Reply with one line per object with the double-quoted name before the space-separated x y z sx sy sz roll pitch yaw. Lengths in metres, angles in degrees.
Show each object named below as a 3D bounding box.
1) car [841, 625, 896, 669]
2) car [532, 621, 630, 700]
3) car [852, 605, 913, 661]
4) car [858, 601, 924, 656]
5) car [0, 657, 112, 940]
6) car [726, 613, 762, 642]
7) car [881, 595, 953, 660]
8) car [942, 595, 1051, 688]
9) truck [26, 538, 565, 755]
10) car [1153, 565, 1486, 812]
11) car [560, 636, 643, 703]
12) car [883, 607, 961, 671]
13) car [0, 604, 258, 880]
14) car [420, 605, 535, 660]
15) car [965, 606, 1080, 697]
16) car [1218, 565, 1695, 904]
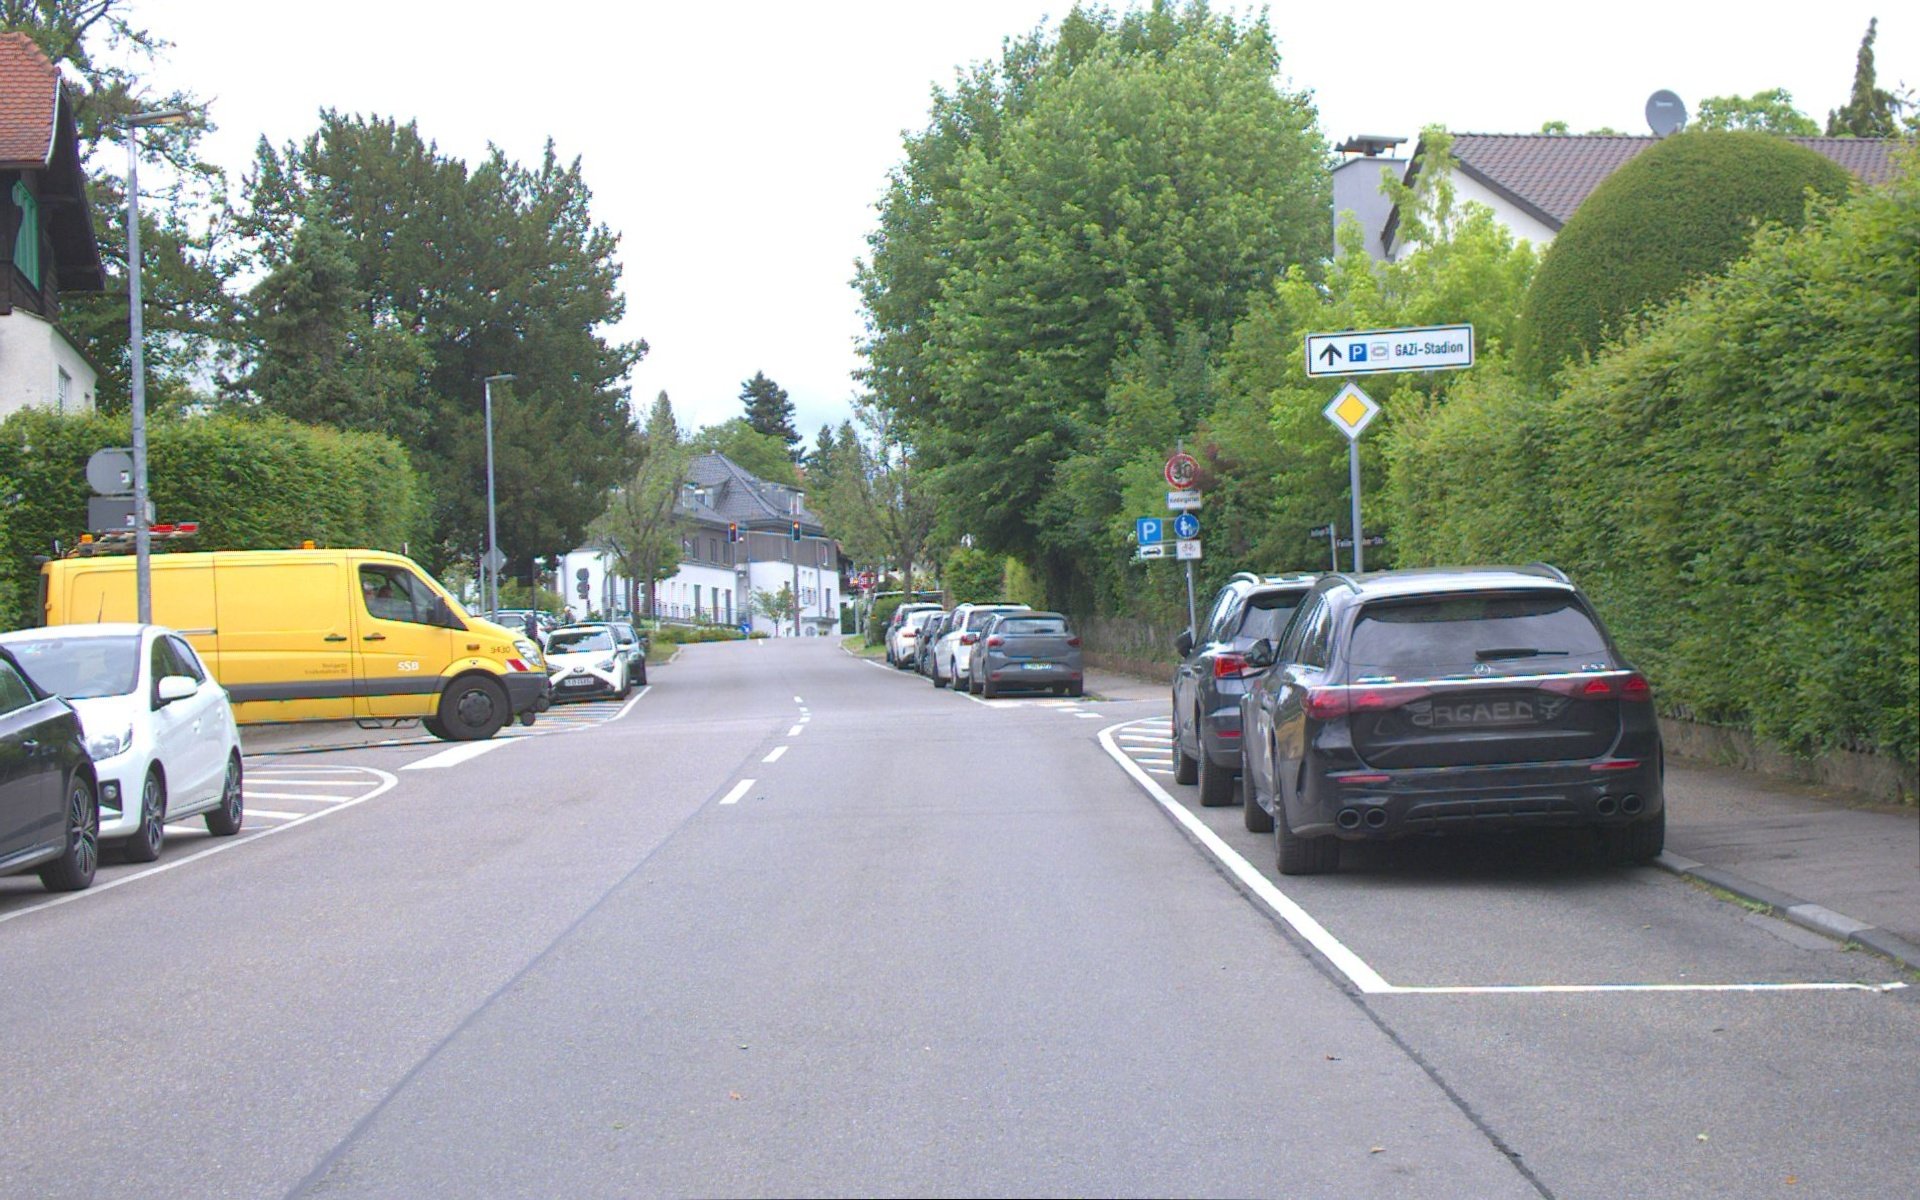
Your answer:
"car" -3.116 1.574 116.677 1.643 1.367 3.468 -2 0 -4
"car" -7.390 1.148 66.757 1.664 1.395 3.468 -2 0 -9
"car" -2.448 1.026 107.956 1.643 1.662 3.468 -2 0 -4
"car" -2.020 0.823 99.830 1.664 1.496 3.468 -2 0 -4
"car" -5.615 1.042 17.067 1.762 1.383 4.000 -4 -1 -1
"car" -11.414 1.435 181.390 1.822 1.415 4.001 -2 0 -4
"car" -1.168 0.720 92.811 1.664 1.662 3.468 -2 0 -4
"car" 0.668 0.775 65.898 1.713 1.652 3.623 -2 0 -4
"truck" -7.911 0.559 40.723 5.930 2.301 2.826 -1 -3 -17
"car" 2.403 0.543 24.047 1.883 1.528 4.475 -1 0 1
"car" -8.266 1.574 79.040 1.664 1.395 3.468 -2 0 -9
"car" -0.966 0.957 85.824 1.664 1.496 3.468 -2 0 -4
"car" -5.698 0.863 21.917 1.630 1.518 3.638 -4 1 -1
"car" -16.590 1.110 118.324 3.843 1.731 1.642 -2 0 -8
"car" 1.078 0.890 61.130 1.664 1.496 3.468 -2 0 -4
"car" 2.459 0.603 18.105 1.883 1.528 4.475 -1 0 1
